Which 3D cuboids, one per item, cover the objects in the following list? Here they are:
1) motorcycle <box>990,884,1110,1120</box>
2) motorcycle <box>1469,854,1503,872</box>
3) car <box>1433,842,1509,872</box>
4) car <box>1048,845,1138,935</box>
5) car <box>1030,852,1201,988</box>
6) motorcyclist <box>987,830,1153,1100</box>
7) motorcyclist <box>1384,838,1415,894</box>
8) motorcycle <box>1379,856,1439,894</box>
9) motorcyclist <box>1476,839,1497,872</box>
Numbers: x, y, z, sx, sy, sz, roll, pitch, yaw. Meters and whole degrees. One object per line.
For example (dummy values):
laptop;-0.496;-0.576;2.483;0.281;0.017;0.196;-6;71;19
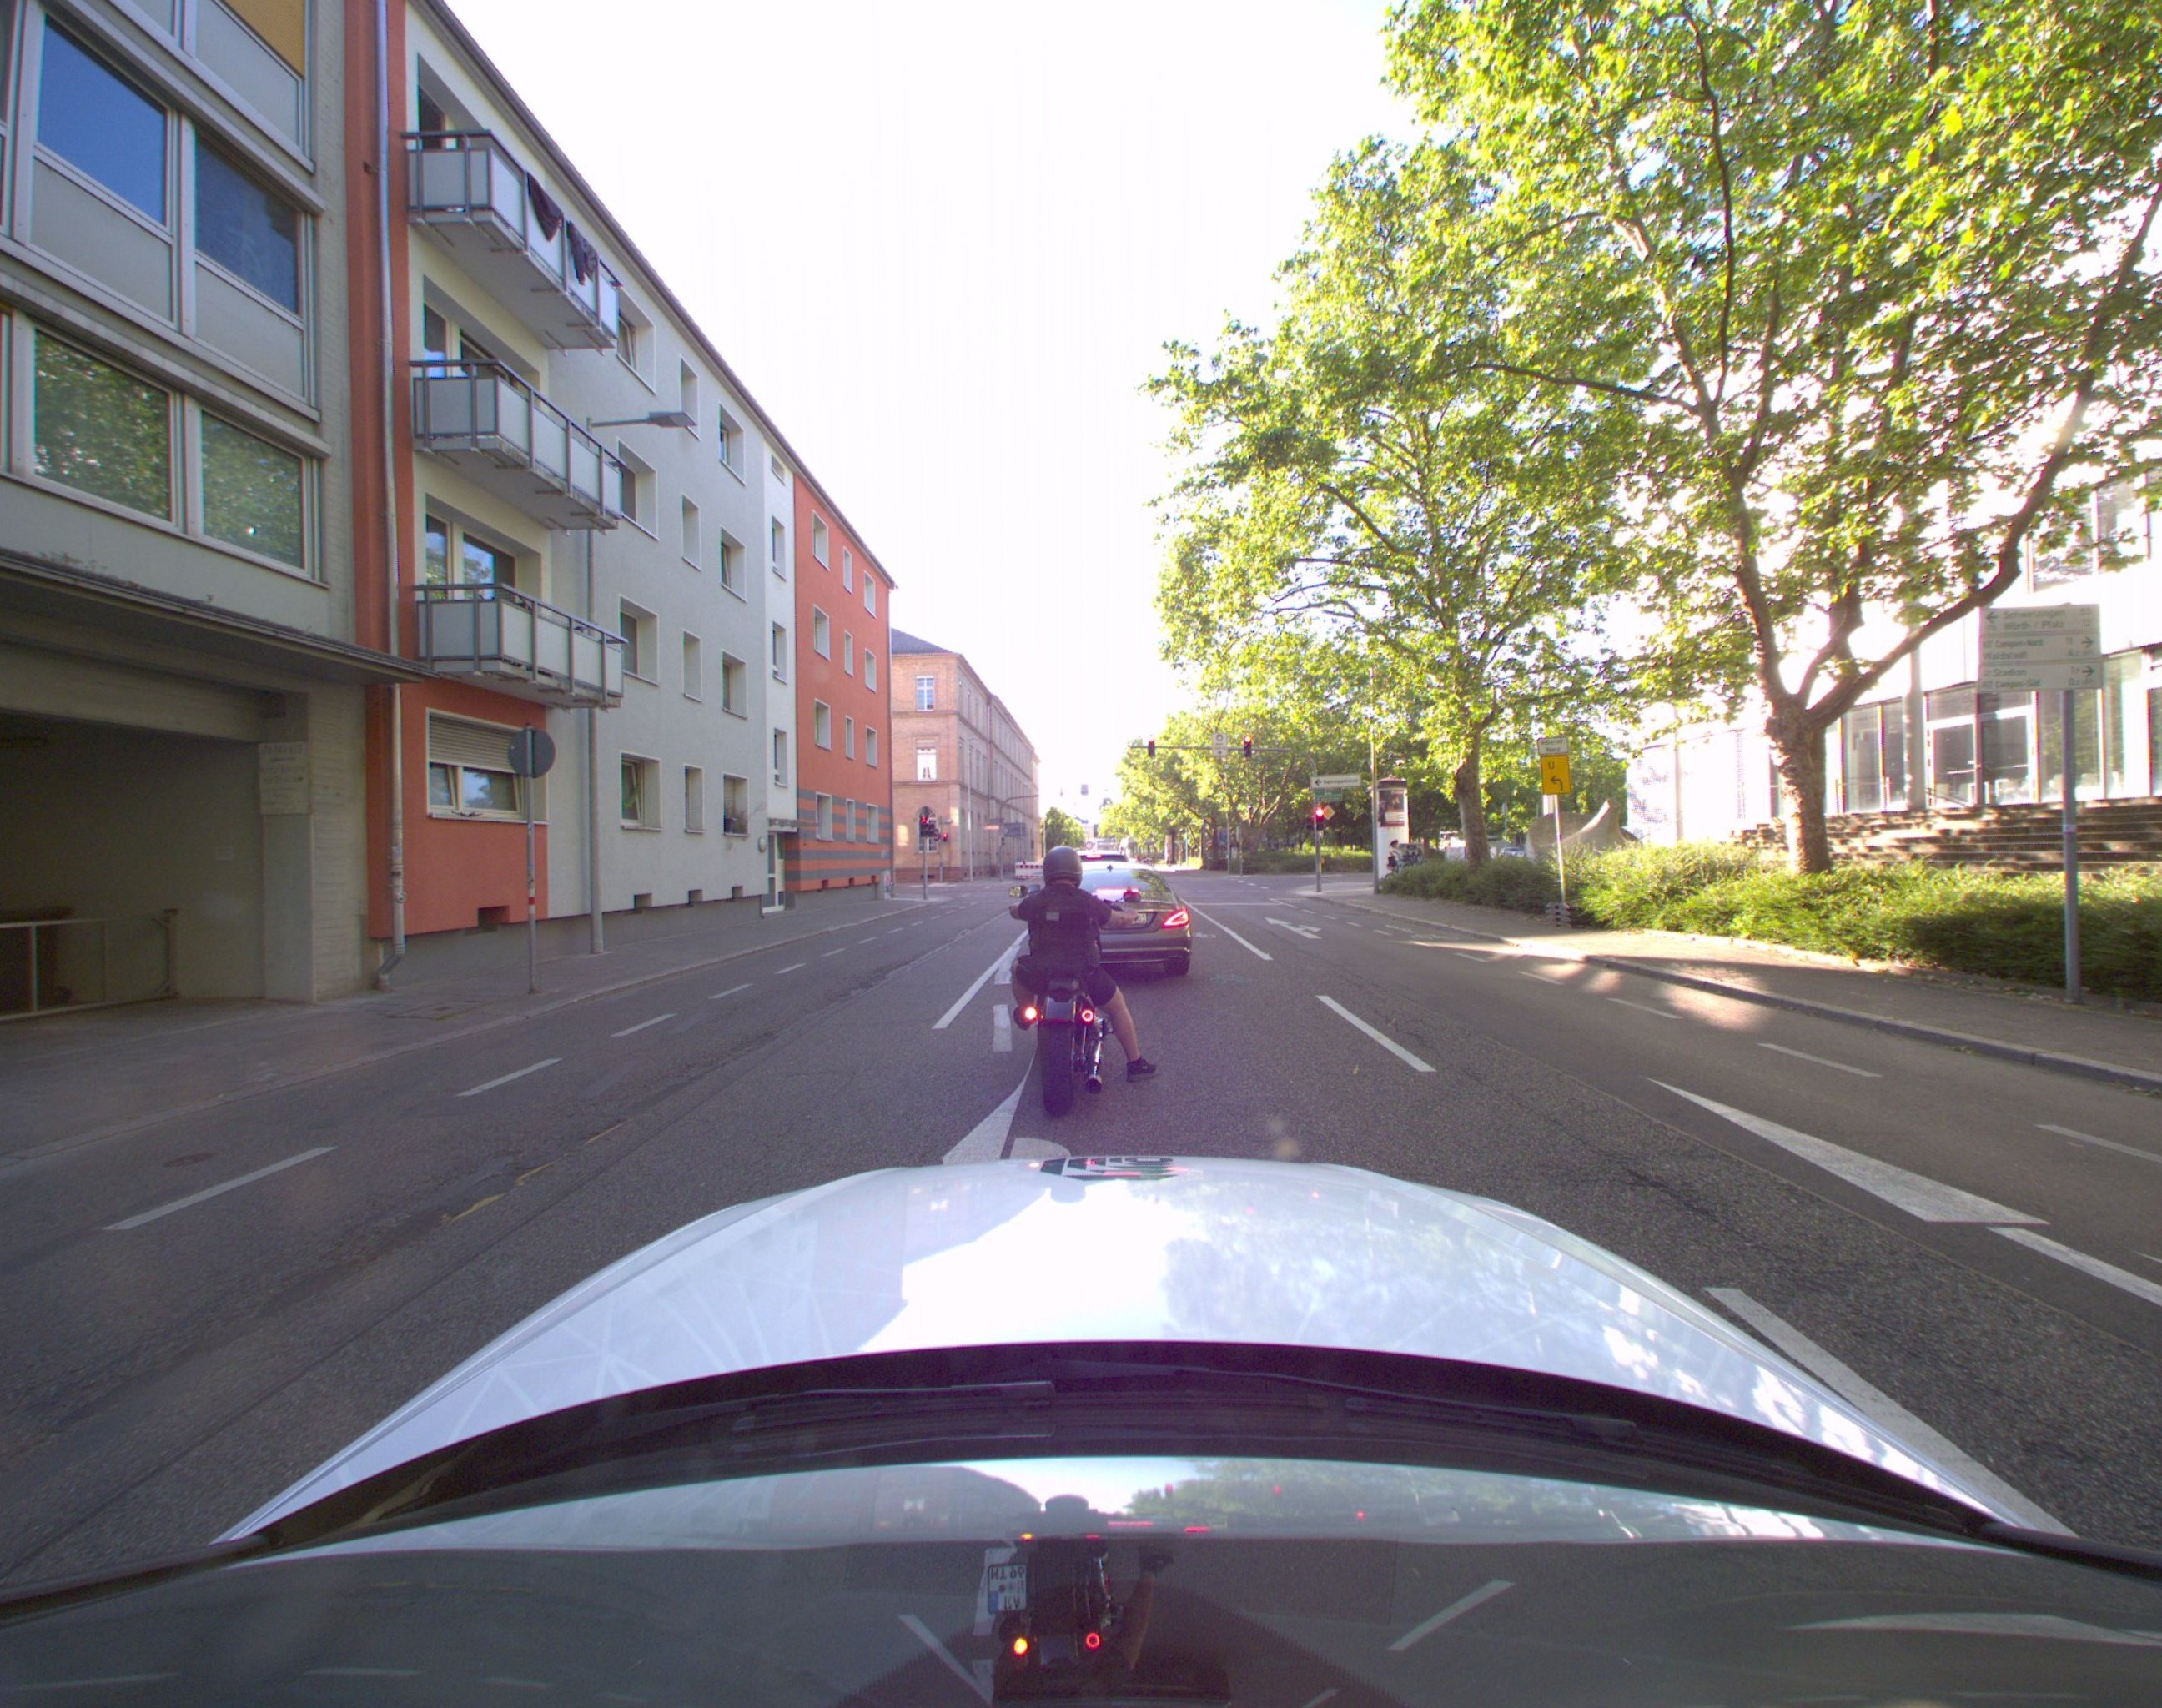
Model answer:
motorcycle;-0.140;0.859;5.538;0.657;1.240;2.058;0;-1;2
motorcycle;23.509;0.508;47.329;1.710;1.002;0.416;-1;0;6
car;24.630;0.201;51.521;3.974;1.772;1.738;-1;0;-1
car;0.288;0.689;17.092;1.645;1.652;4.002;0;-1;2
car;0.263;0.744;11.241;1.821;1.486;4.325;0;-1;-5
motorcyclist;-0.051;0.670;5.445;0.986;1.611;1.121;0;-1;1
motorcyclist;10.769;0.391;27.565;0.818;1.863;0.673;0;-1;7
motorcycle;11.073;0.709;27.542;1.771;1.243;0.724;0;-1;7
motorcyclist;23.546;0.070;47.335;0.978;1.876;0.377;-1;-1;6
